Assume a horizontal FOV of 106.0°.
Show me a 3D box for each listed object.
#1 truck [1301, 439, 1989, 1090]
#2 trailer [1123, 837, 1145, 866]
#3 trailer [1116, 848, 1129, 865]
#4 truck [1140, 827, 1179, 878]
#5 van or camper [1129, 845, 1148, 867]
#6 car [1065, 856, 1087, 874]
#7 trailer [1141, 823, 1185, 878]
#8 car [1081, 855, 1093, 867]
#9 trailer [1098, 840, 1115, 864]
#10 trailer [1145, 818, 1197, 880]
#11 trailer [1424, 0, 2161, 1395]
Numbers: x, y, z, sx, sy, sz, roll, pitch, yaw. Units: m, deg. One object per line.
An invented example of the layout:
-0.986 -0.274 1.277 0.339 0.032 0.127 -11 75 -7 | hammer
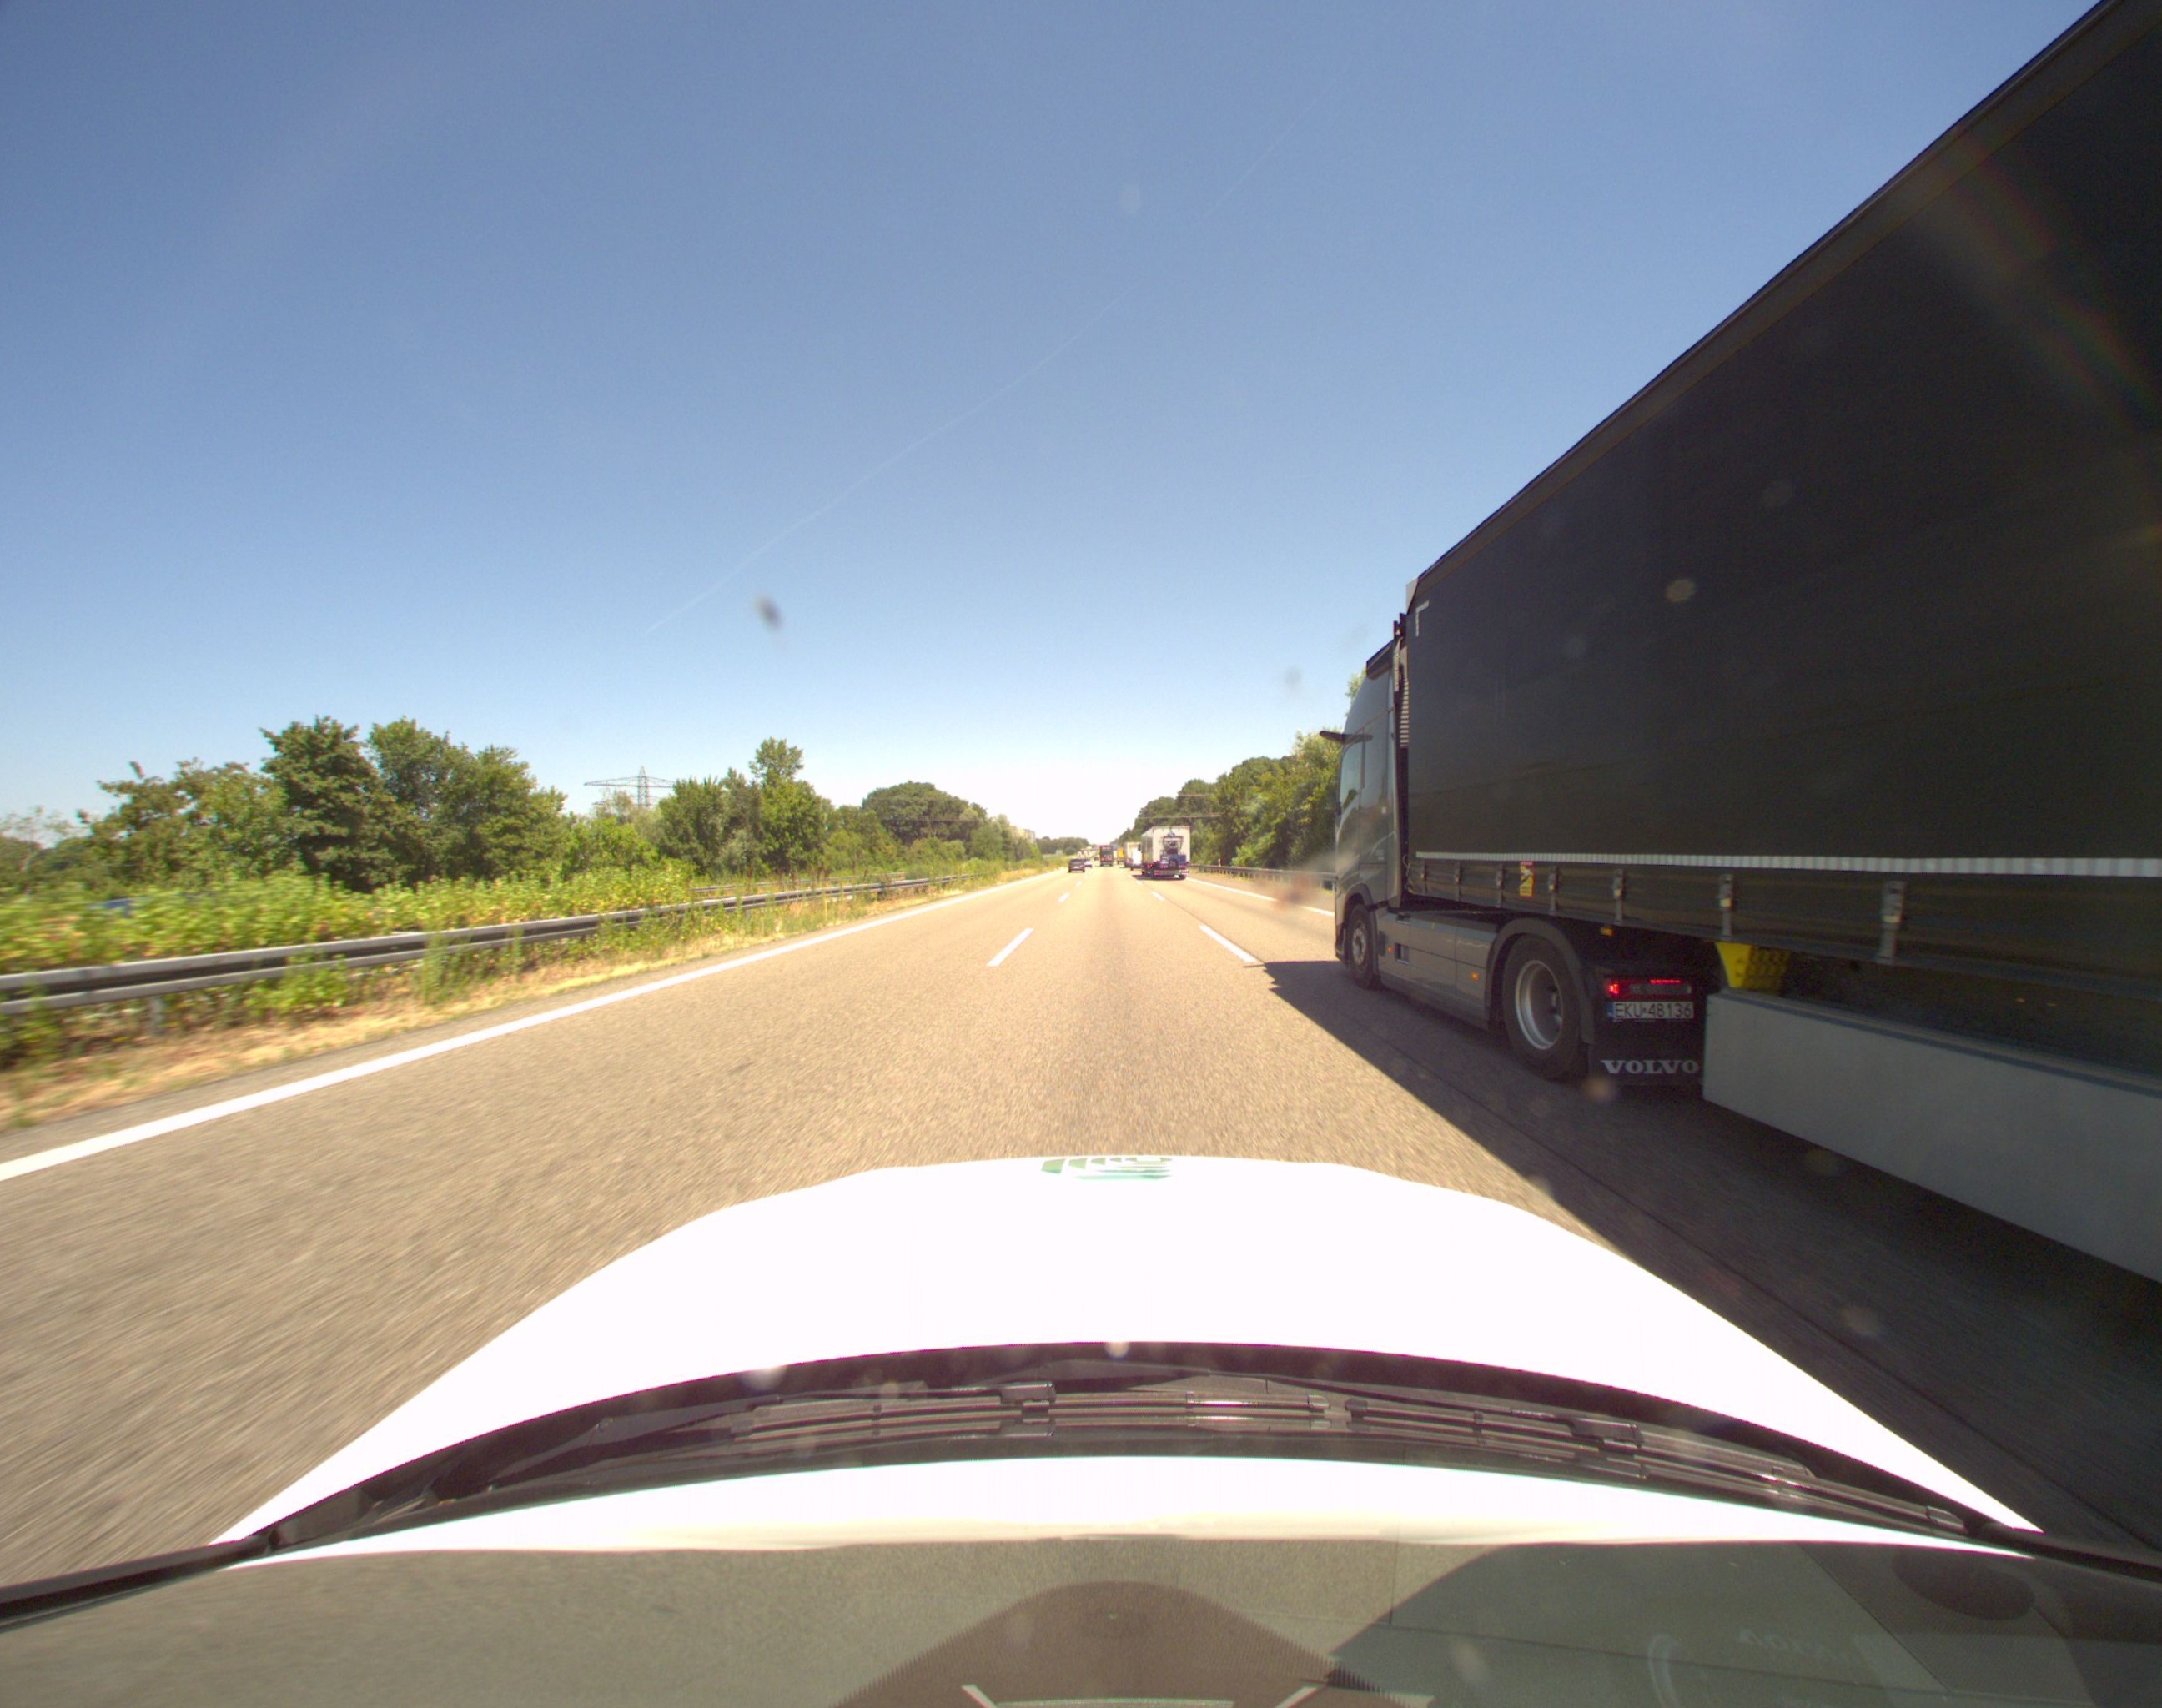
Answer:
4.326 -0.536 8.250 2.543 3.954 6.516 -1 0 2 | truck
8.245 -0.313 129.157 2.982 4.289 13.422 0 0 2 | trailer
9.993 0.621 195.893 2.824 3.953 11.687 -1 0 1 | trailer
6.529 -0.109 68.514 2.878 4.030 6.872 0 -1 2 | truck
7.019 0.236 100.235 2.015 2.637 6.489 -1 0 1 | van or camper
-0.531 1.206 90.052 2.208 1.790 5.395 -2 0 1 | car
6.363 -0.218 64.168 2.909 4.041 7.319 0 -1 1 | trailer
0.966 1.122 131.179 1.987 1.728 4.131 -1 0 1 | car
4.837 -0.318 158.540 3.095 4.507 14.898 -1 0 1 | trailer
6.207 -0.282 57.375 2.934 4.063 8.130 0 -1 1 | trailer
4.051 -0.569 0.212 2.543 3.954 13.543 -1 0 2 | trailer
